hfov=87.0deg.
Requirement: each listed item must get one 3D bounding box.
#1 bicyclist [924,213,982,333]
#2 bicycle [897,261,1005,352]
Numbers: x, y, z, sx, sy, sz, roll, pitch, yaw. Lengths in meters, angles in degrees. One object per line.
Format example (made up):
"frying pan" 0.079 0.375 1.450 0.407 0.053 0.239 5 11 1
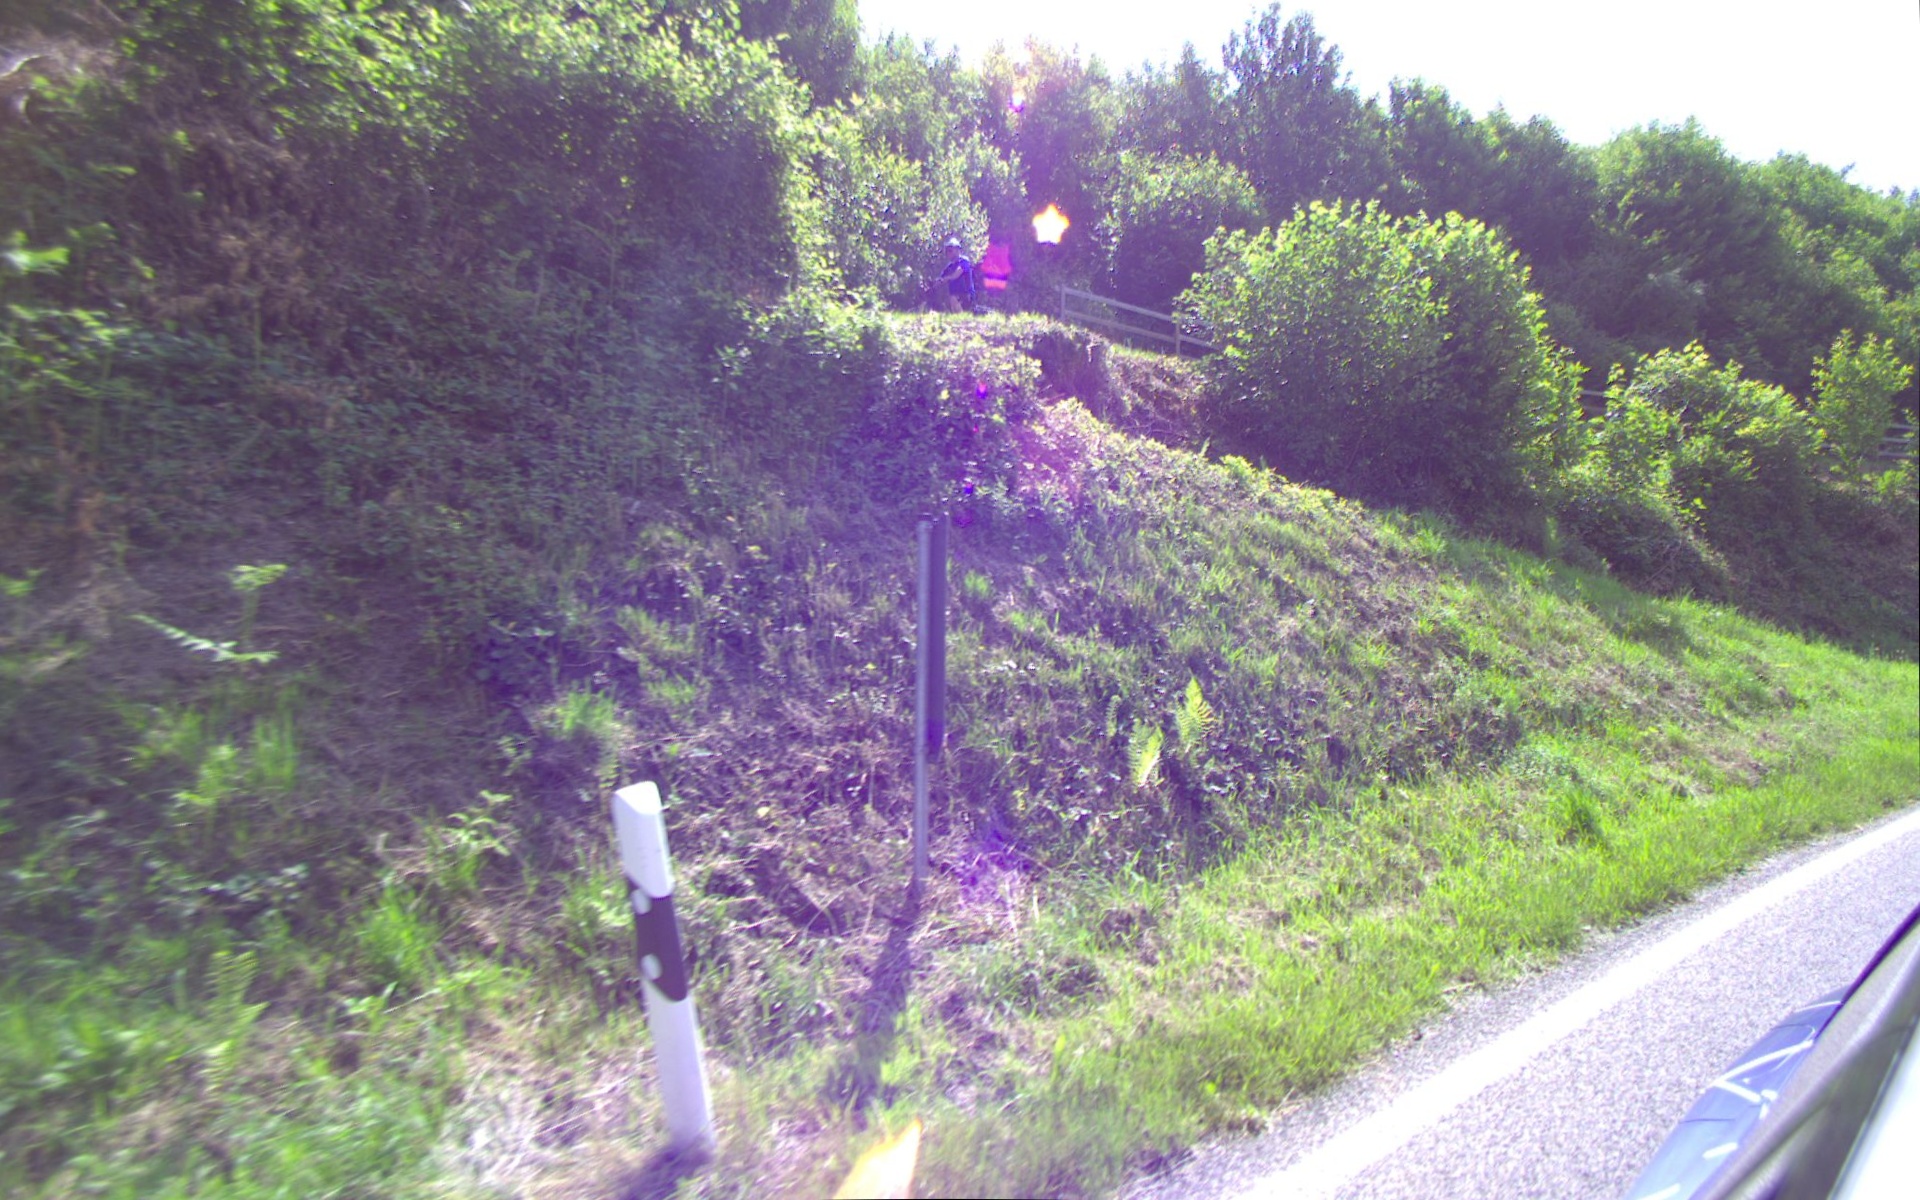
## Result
"bicyclist" -0.107 -4.943 15.361 0.602 1.544 0.625 1 -3 -37
"bicycle" -0.126 -4.414 15.330 1.567 0.927 0.624 1 -3 -36
